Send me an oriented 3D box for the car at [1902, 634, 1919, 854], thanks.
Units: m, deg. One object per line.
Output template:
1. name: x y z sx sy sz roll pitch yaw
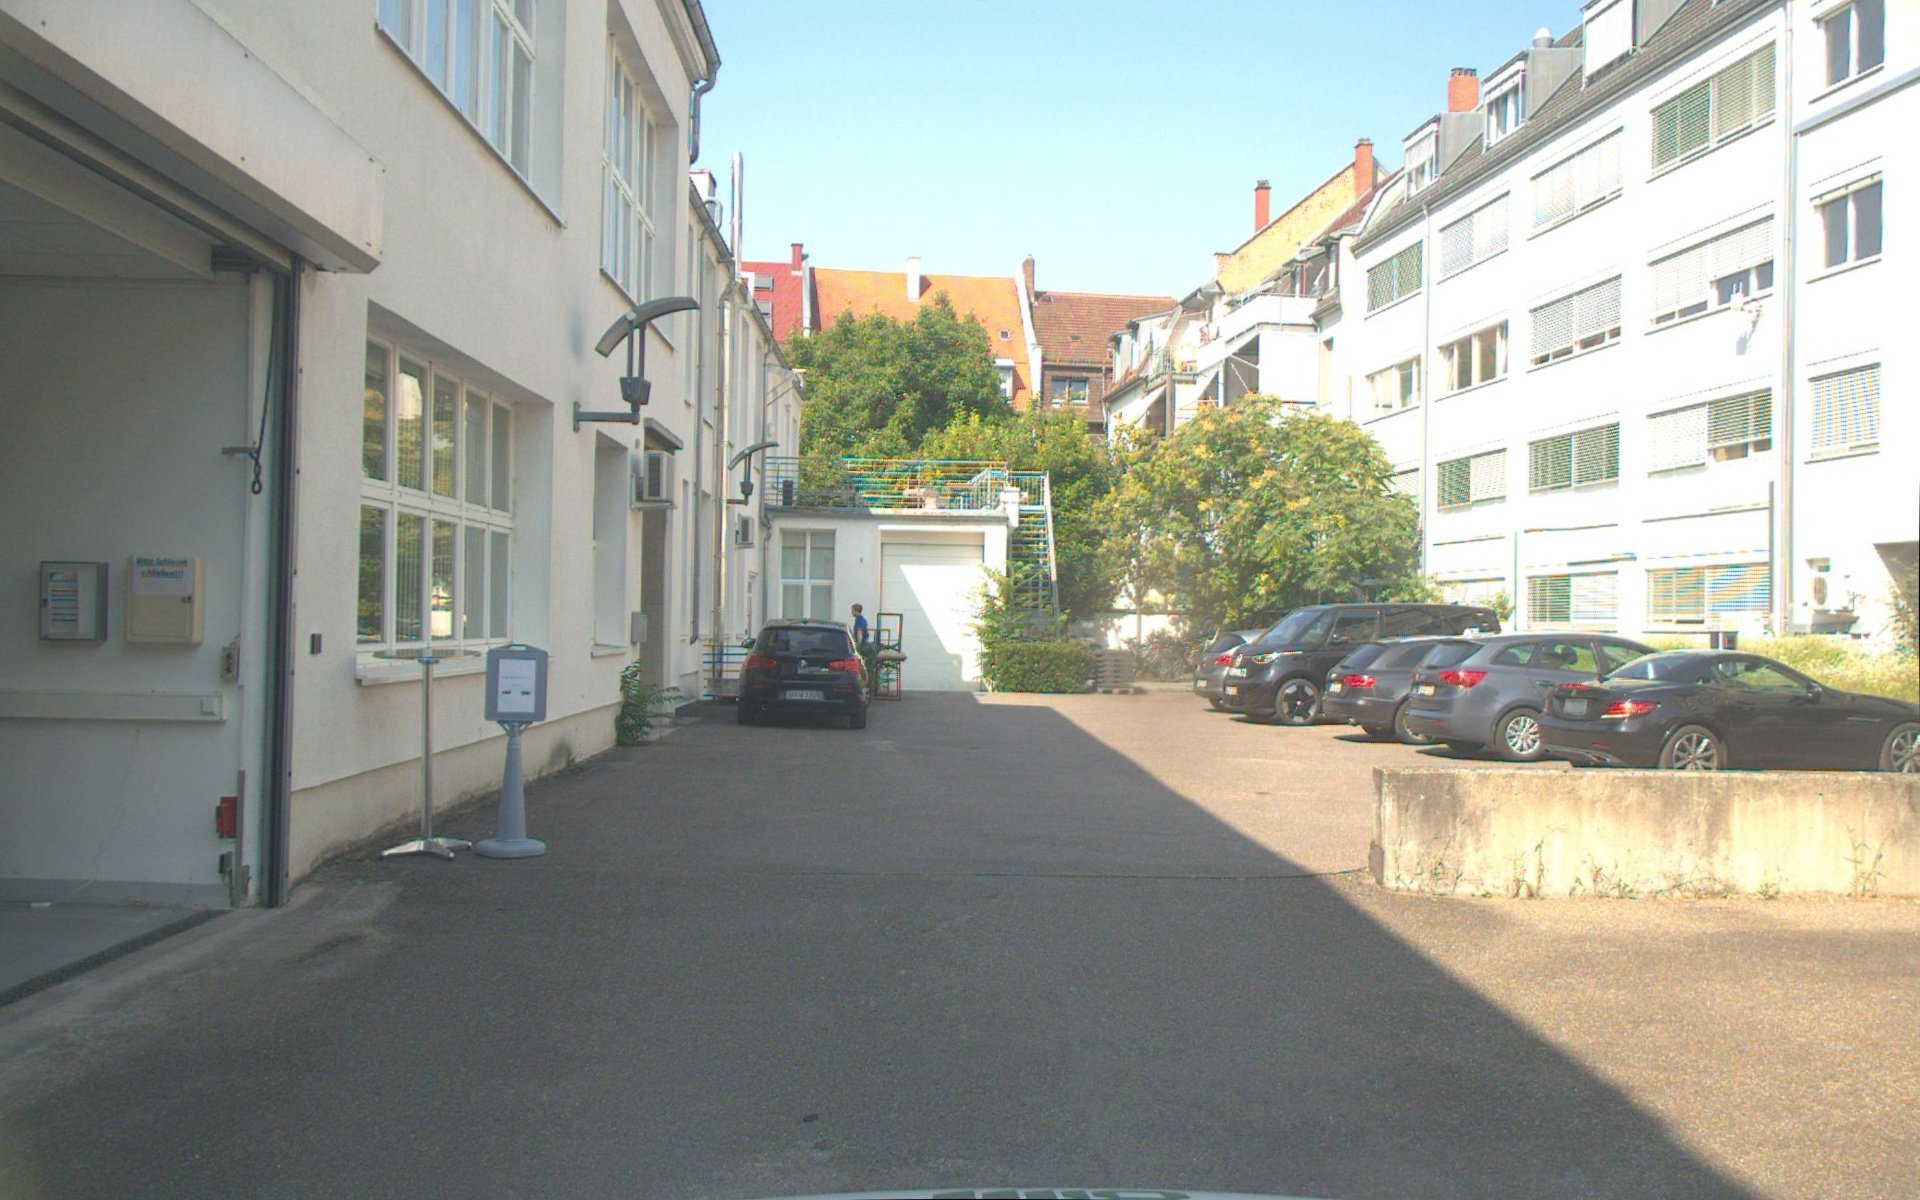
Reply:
1. car: 8.658 0.932 11.145 3.547 1.572 1.801 -3 -1 -4

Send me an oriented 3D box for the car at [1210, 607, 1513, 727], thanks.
1. car: 6.478 1.093 26.876 4.419 1.826 1.878 1 -2 -11

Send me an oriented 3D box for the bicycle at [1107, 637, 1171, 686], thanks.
1. bicycle: 4.593 1.576 42.505 1.590 1.235 0.424 0 -1 -2

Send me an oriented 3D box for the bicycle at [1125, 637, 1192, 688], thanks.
1. bicycle: 4.884 1.535 40.727 1.590 1.235 0.327 0 -1 0

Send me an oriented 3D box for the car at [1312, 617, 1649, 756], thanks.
1. car: 7.070 1.166 22.684 4.036 1.721 1.769 2 -2 -4

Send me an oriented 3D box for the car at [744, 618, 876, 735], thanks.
1. car: -2.050 1.049 23.521 1.654 1.485 3.920 2 -2 -3

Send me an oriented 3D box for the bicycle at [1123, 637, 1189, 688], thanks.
1. bicycle: 4.849 1.542 41.019 1.590 1.235 0.327 0 -1 0

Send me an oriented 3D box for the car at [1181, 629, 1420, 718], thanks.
1. car: 6.090 1.322 29.746 3.861 1.508 1.770 1 -2 -11

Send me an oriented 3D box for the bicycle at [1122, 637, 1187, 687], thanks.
1. bicycle: 4.875 1.555 41.471 1.588 1.235 0.327 0 -1 9

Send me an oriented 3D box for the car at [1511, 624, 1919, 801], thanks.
1. car: 7.754 1.113 16.677 3.731 1.617 1.892 2 -2 -11

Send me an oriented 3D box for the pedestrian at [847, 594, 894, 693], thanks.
1. pedestrian: -1.904 0.922 35.217 0.895 2.049 0.934 2 -2 -1

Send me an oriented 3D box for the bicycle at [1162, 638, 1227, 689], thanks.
1. bicycle: 5.861 1.581 41.394 1.588 1.235 0.327 0 -1 14

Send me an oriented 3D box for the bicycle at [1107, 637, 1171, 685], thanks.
1. bicycle: 4.663 1.595 43.141 1.592 1.235 0.423 1 -1 -7

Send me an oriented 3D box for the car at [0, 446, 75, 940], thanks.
1. car: -6.444 0.303 6.546 4.651 2.129 2.055 2 -2 -1

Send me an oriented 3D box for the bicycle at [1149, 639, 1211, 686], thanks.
1. bicycle: 5.832 1.648 43.855 1.588 1.235 0.424 0 -1 11

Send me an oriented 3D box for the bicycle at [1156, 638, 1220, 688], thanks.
1. bicycle: 5.825 1.604 42.253 1.588 1.235 0.424 0 -1 12

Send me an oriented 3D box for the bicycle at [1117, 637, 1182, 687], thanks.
1. bicycle: 4.791 1.562 41.833 1.588 1.235 0.327 0 -1 12

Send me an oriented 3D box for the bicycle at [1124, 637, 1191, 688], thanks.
1. bicycle: 4.826 1.525 40.404 1.590 1.235 0.327 0 -1 0

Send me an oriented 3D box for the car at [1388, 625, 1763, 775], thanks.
1. car: 7.315 1.177 19.870 3.788 1.617 1.876 2 -2 -7
